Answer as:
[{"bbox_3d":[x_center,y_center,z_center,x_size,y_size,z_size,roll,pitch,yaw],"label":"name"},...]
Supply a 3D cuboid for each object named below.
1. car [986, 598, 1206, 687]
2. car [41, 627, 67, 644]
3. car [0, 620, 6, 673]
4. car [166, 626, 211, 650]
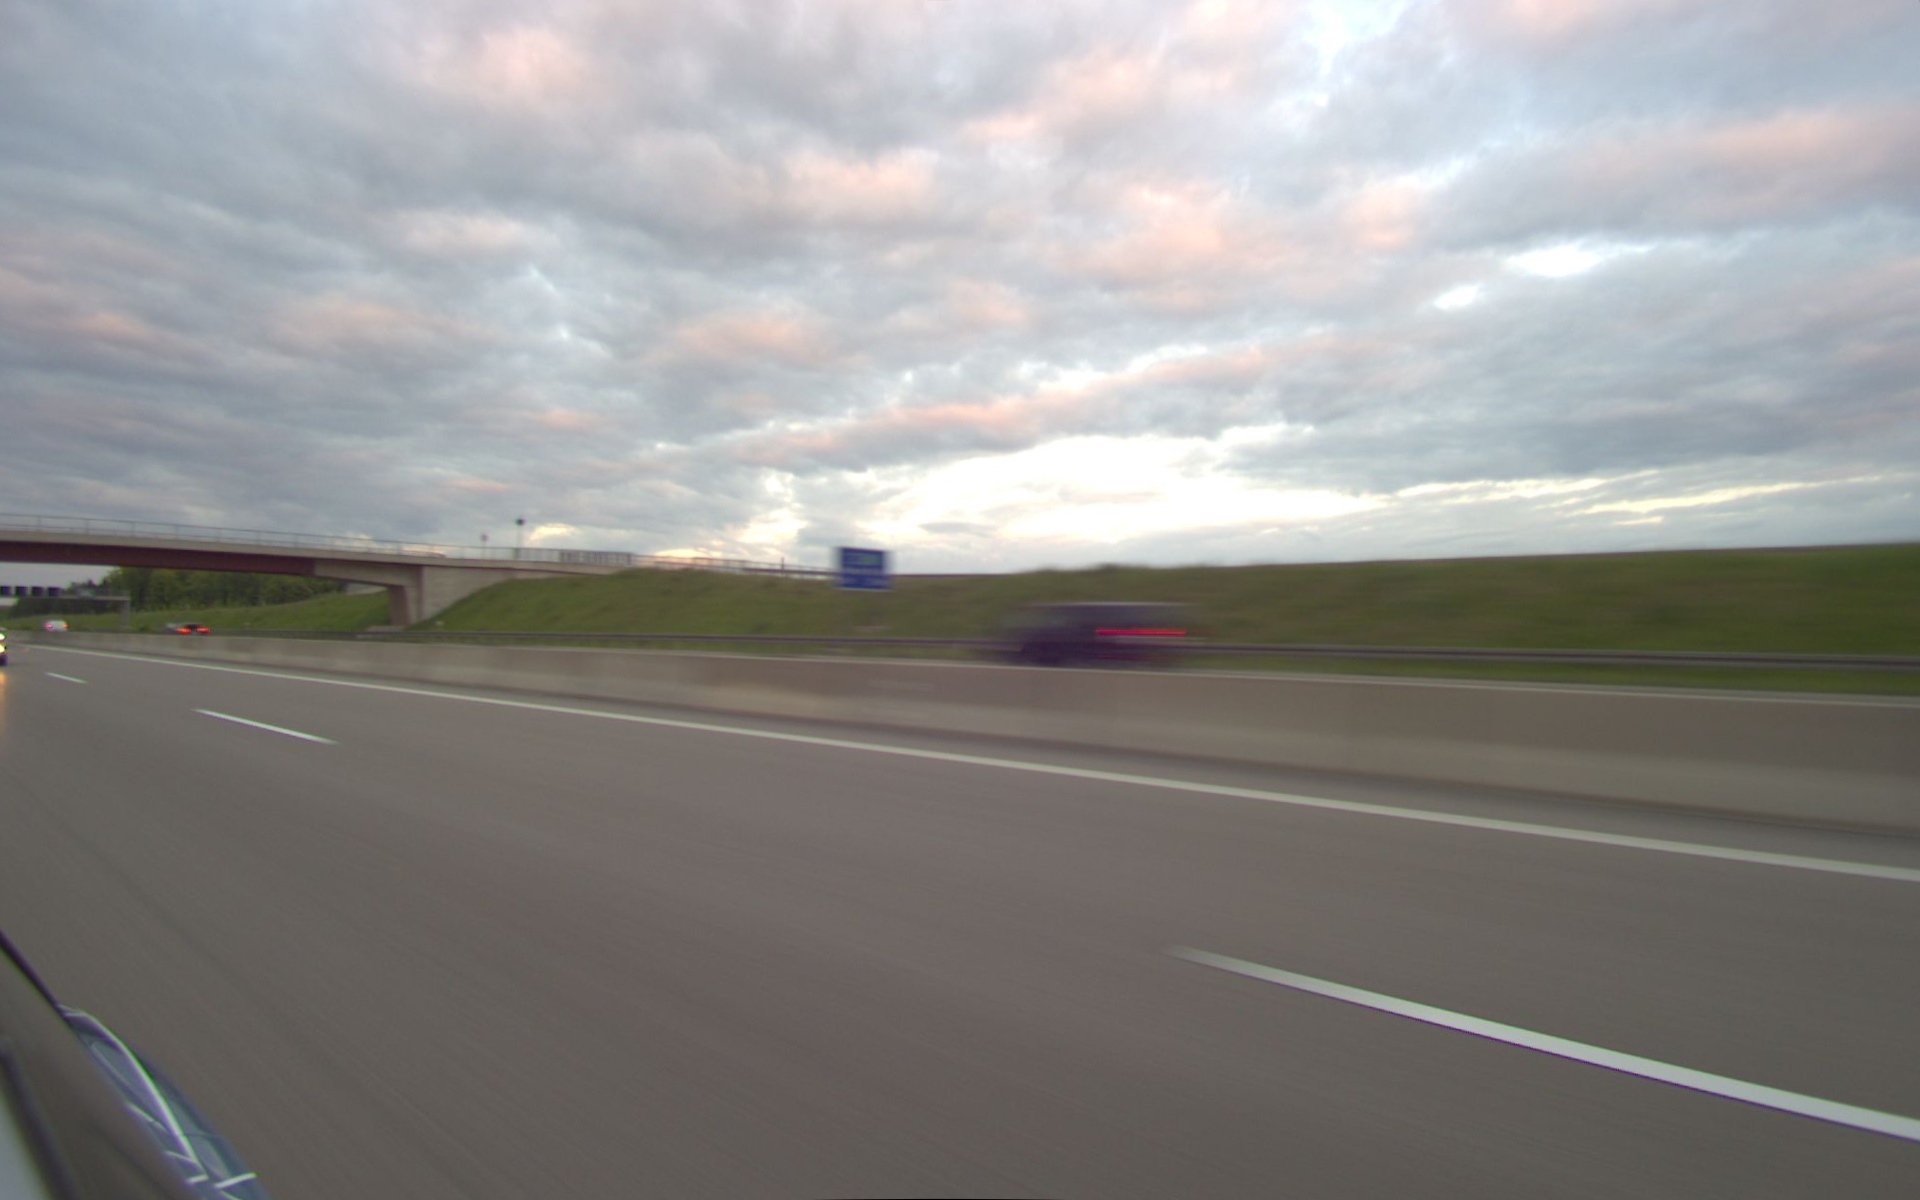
[{"bbox_3d":[3.233,0.995,24.806,5.088,1.951,1.973,-1,0,41],"label":"car"},{"bbox_3d":[-111.429,4.337,124.433,4.891,1.950,1.804,-2,0,41],"label":"car"},{"bbox_3d":[-33.474,1.533,33.834,5.510,1.705,1.833,-1,-1,42],"label":"car"},{"bbox_3d":[-58.240,2.835,76.353,4.649,1.675,1.805,-2,0,41],"label":"car"}]
